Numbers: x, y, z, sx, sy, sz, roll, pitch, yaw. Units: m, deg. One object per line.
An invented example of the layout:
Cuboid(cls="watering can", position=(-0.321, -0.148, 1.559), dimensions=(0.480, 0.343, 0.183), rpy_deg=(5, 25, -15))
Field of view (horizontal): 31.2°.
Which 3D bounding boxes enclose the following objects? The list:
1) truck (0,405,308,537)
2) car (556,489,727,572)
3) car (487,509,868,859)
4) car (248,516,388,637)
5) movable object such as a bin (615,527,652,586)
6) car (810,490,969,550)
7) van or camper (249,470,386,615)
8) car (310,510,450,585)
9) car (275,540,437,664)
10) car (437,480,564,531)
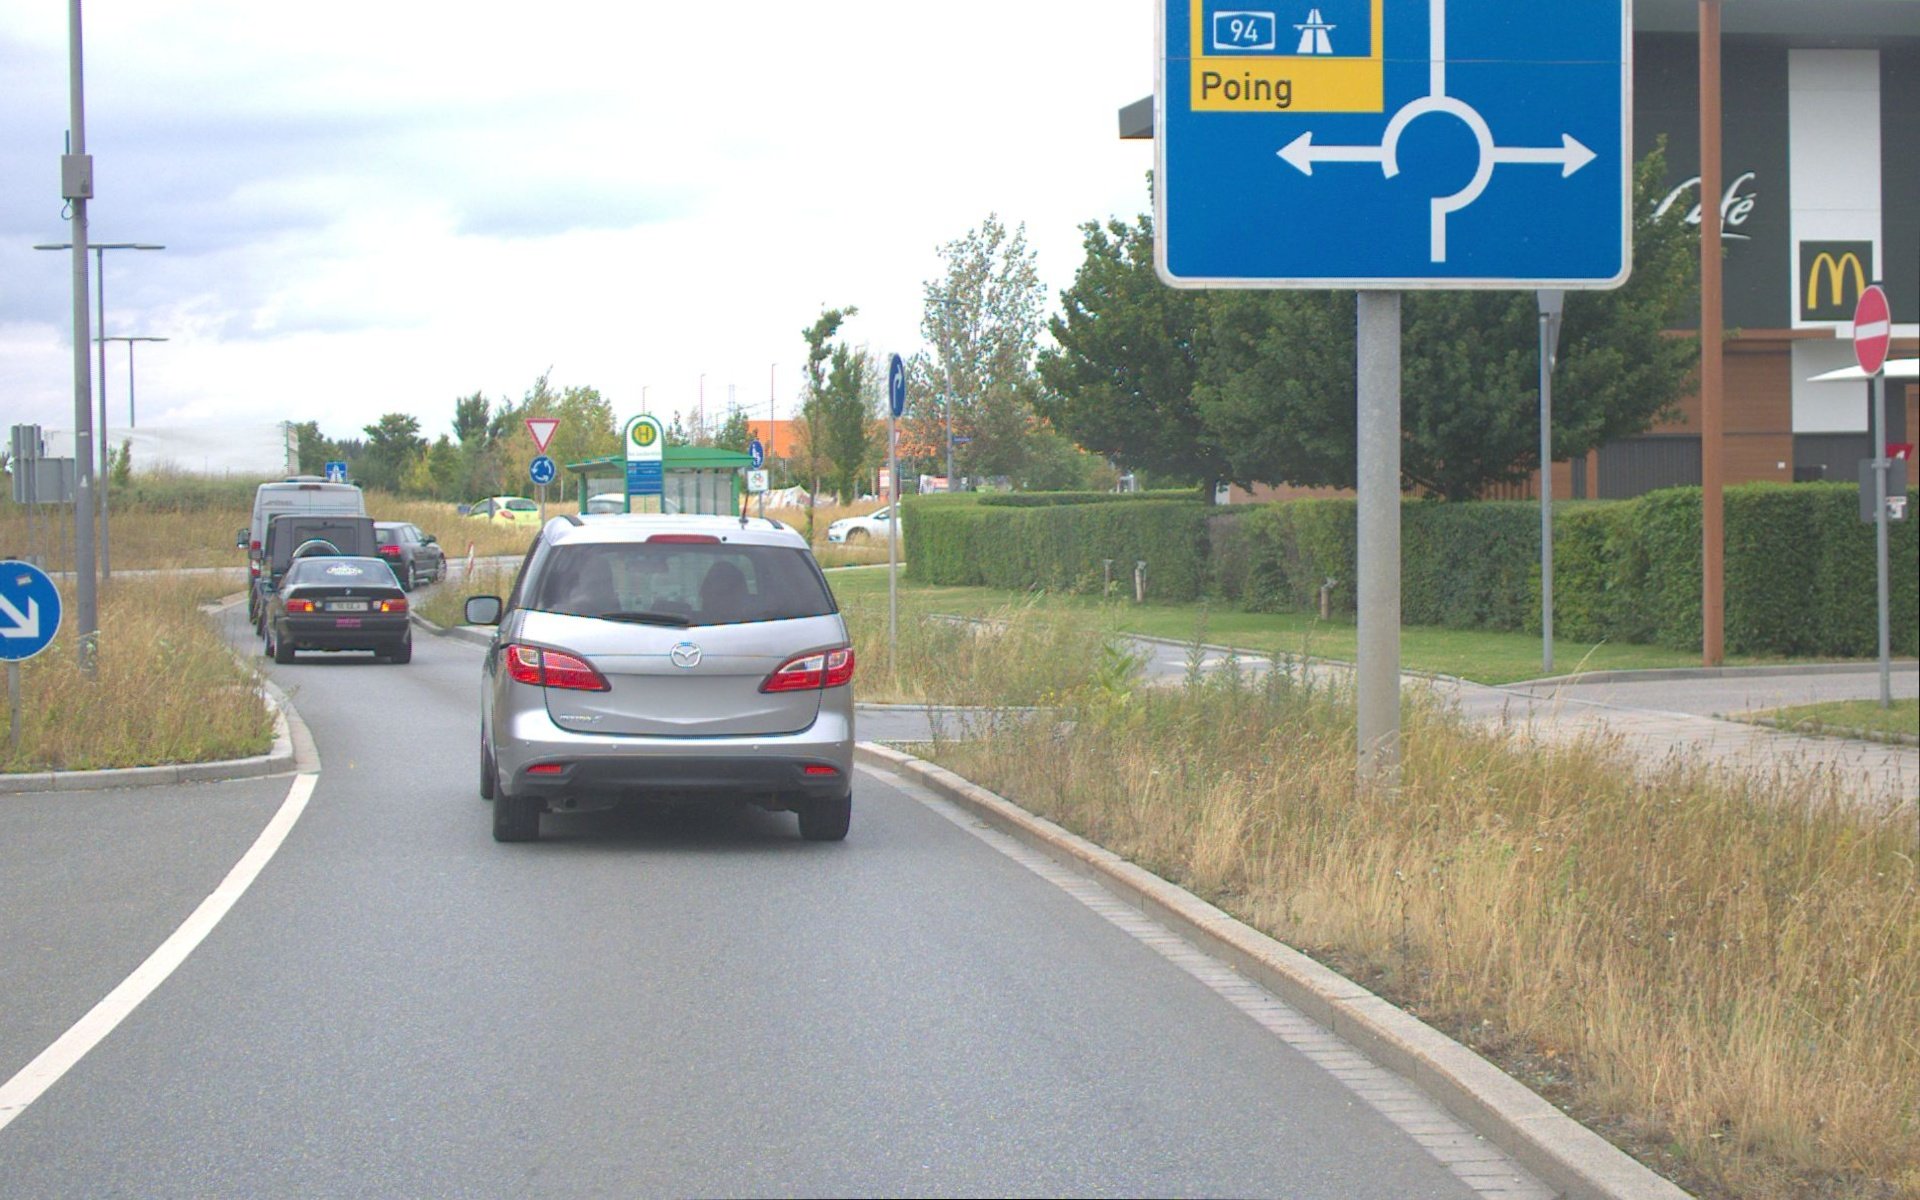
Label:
Cuboid(cls="truck", position=(-25.017, -3.950, 105.982), dimensions=(9.303, 3.893, 3.144), rpy_deg=(-1, 1, -4))
Cuboid(cls="car", position=(-7.897, -1.741, 85.735), dimensions=(1.997, 2.007, 4.617), rpy_deg=(0, 2, 28))
Cuboid(cls="car", position=(-1.555, 0.341, 17.719), dimensions=(1.729, 1.594, 3.808), rpy_deg=(0, 2, -8))
Cuboid(cls="car", position=(-10.169, -0.409, 54.403), dimensions=(2.058, 1.819, 4.787), rpy_deg=(-1, 1, -11))
Cuboid(cls="movable object such as a bin", position=(-4.485, -0.601, 47.234), dimensions=(0.456, 0.795, 0.380), rpy_deg=(-1, 1, -14))
Cuboid(cls="car", position=(-2.097, -2.361, 101.435), dimensions=(4.601, 1.751, 2.000), rpy_deg=(0, 1, -3))
Cuboid(cls="van or camper", position=(-11.495, -1.055, 61.768), dimensions=(2.302, 2.497, 5.207), rpy_deg=(0, 1, -9))
Cuboid(cls="car", position=(-12.230, -1.126, 72.752), dimensions=(1.994, 1.510, 4.000), rpy_deg=(-1, 1, 4))
Cuboid(cls="car", position=(-7.733, -0.013, 43.756), dimensions=(1.844, 1.413, 4.226), rpy_deg=(-1, 2, -12))
Cuboid(cls="car", position=(-14.323, -2.934, 106.945), dimensions=(1.994, 1.510, 3.998), rpy_deg=(-2, 2, -42))
